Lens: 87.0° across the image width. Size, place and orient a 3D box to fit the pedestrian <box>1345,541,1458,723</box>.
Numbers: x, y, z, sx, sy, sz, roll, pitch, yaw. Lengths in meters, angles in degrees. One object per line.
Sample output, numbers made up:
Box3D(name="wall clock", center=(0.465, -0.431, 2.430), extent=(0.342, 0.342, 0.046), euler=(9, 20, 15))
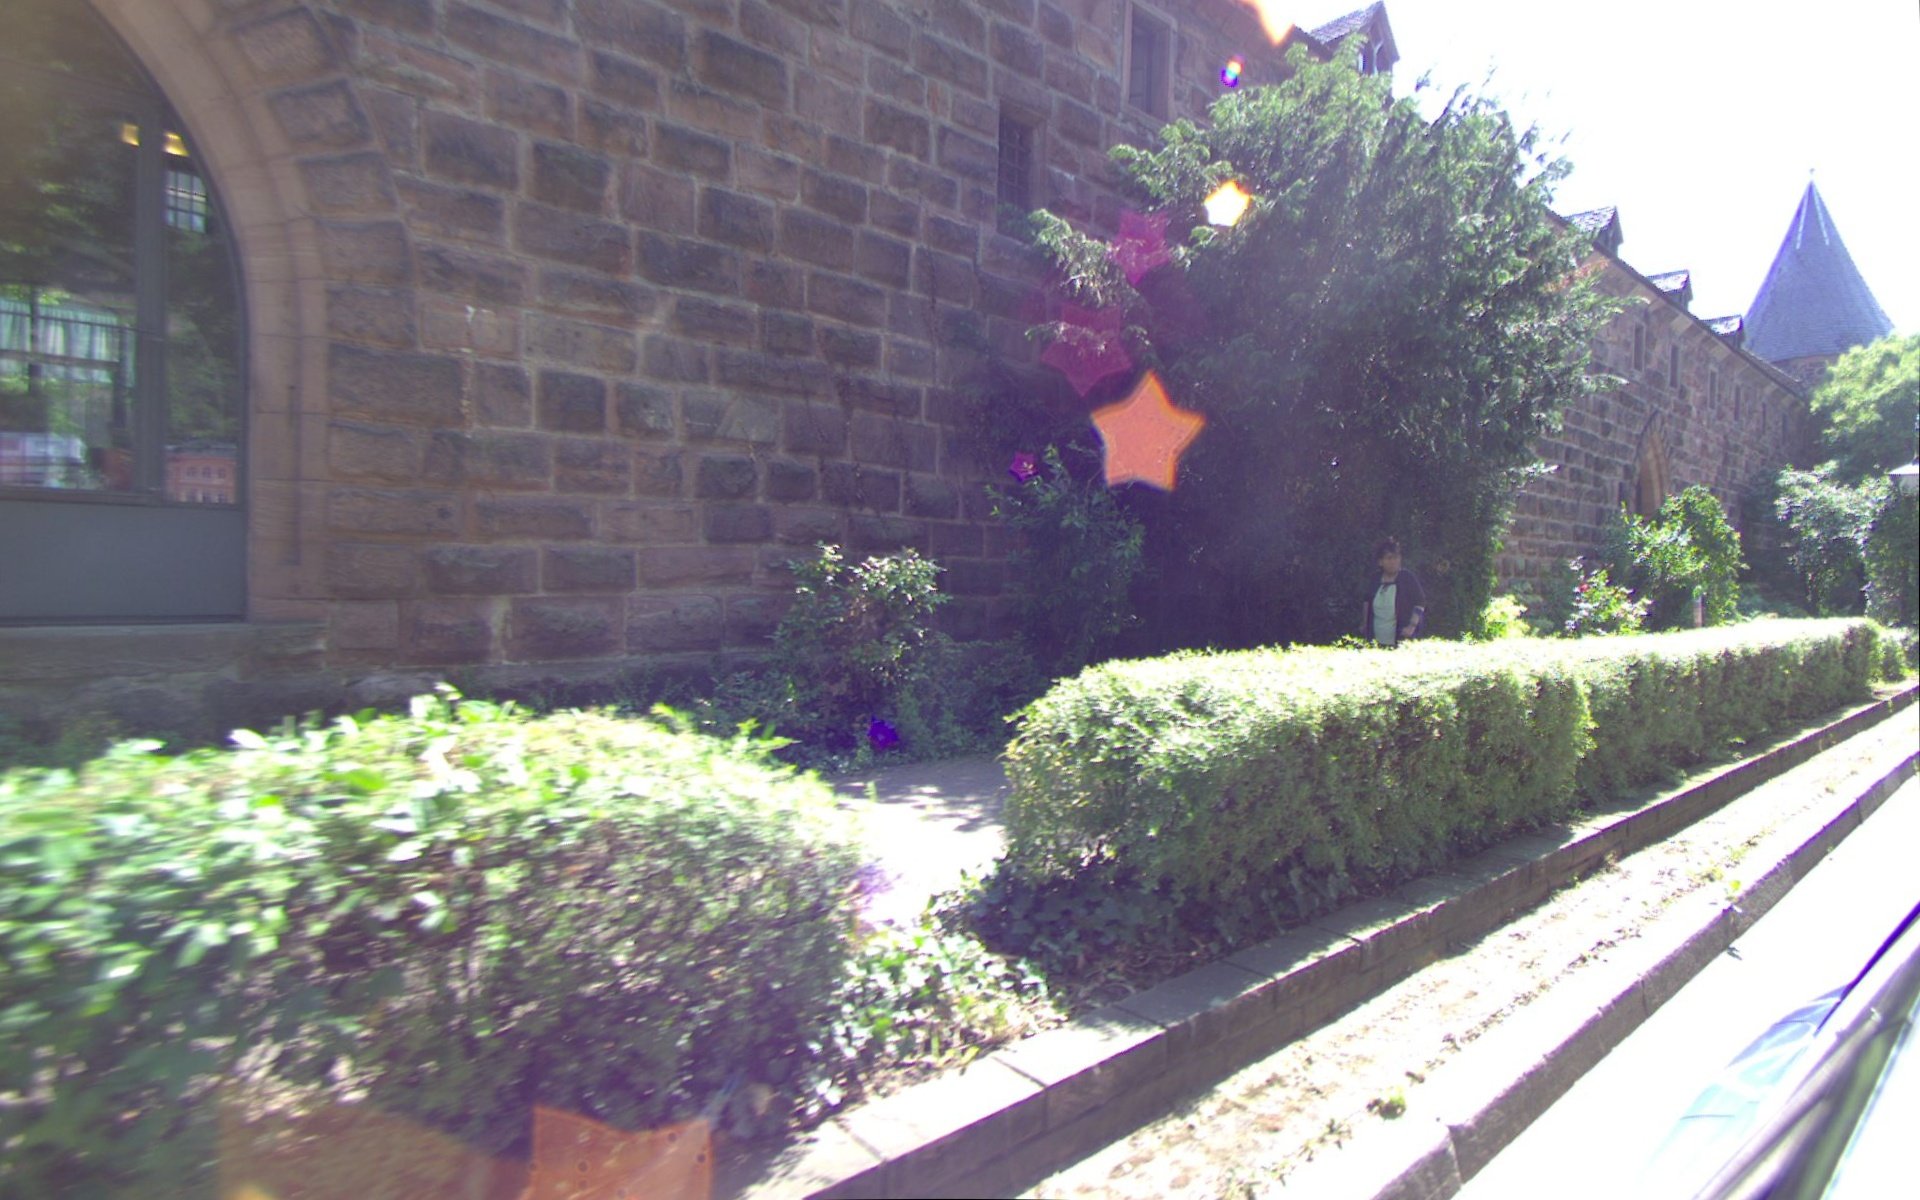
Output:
Box3D(name="pedestrian", center=(4.262, 0.279, 9.781), extent=(0.692, 1.672, 0.700), euler=(0, 2, -38))
